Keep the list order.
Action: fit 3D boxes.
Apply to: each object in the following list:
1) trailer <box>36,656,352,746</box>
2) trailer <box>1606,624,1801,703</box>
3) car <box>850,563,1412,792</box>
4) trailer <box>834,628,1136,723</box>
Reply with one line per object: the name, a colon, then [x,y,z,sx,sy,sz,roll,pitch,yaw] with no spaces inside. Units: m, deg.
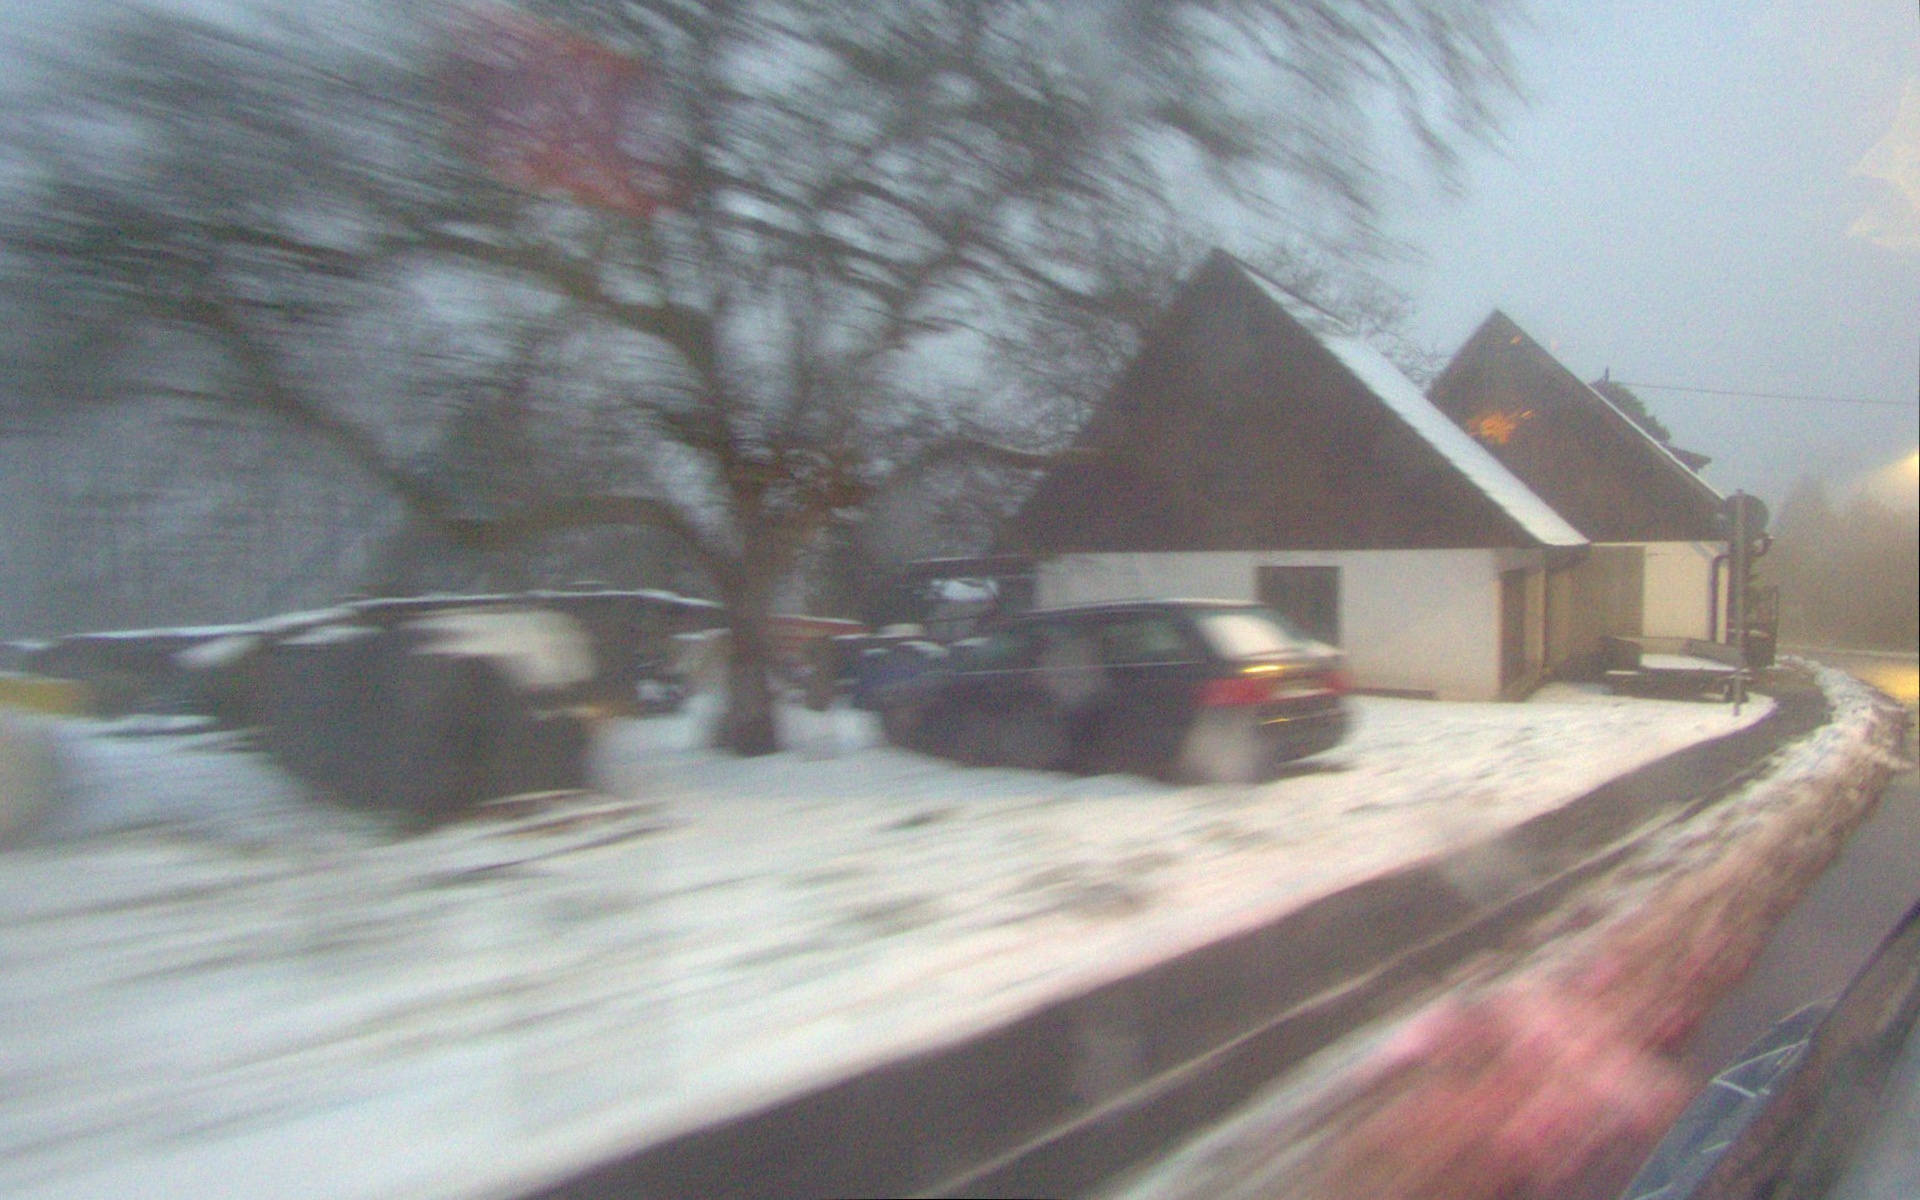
trailer: [-11.735,1.478,15.662,1.842,0.957,3.608,3,1,41]
trailer: [12.188,0.979,16.868,1.531,0.957,3.973,2,1,20]
car: [1.125,0.620,8.563,1.999,1.400,4.458,0,-4,-38]
trailer: [0.276,0.982,14.491,3.868,1.105,2.210,-1,-1,44]
